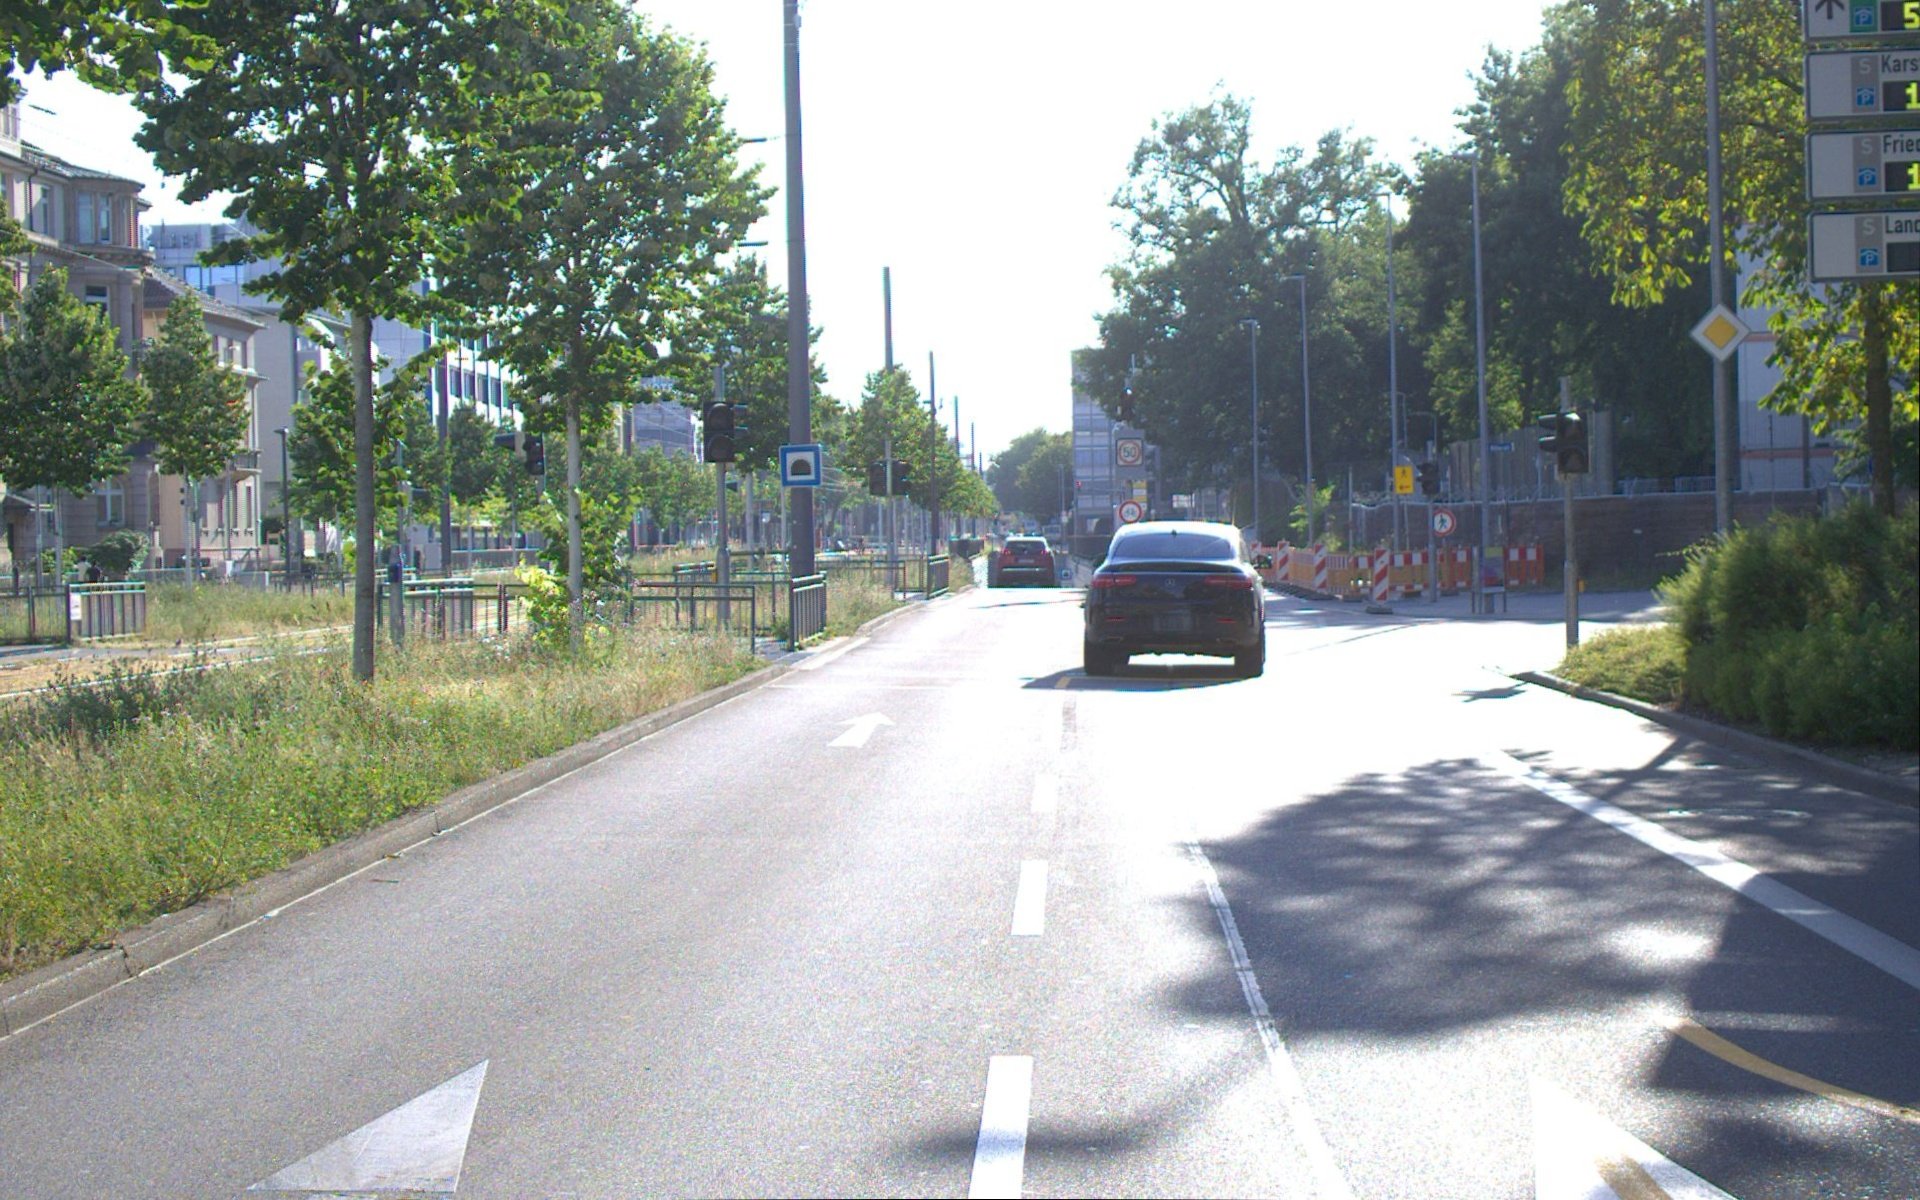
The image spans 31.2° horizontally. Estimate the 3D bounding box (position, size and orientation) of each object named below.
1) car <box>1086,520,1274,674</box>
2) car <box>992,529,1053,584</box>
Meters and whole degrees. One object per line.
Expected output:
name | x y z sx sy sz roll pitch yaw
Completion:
car | 2.477 -0.053 39.605 2.005 1.653 4.000 1 1 2
car | 1.985 -1.366 107.957 1.827 1.653 4.000 1 1 2
